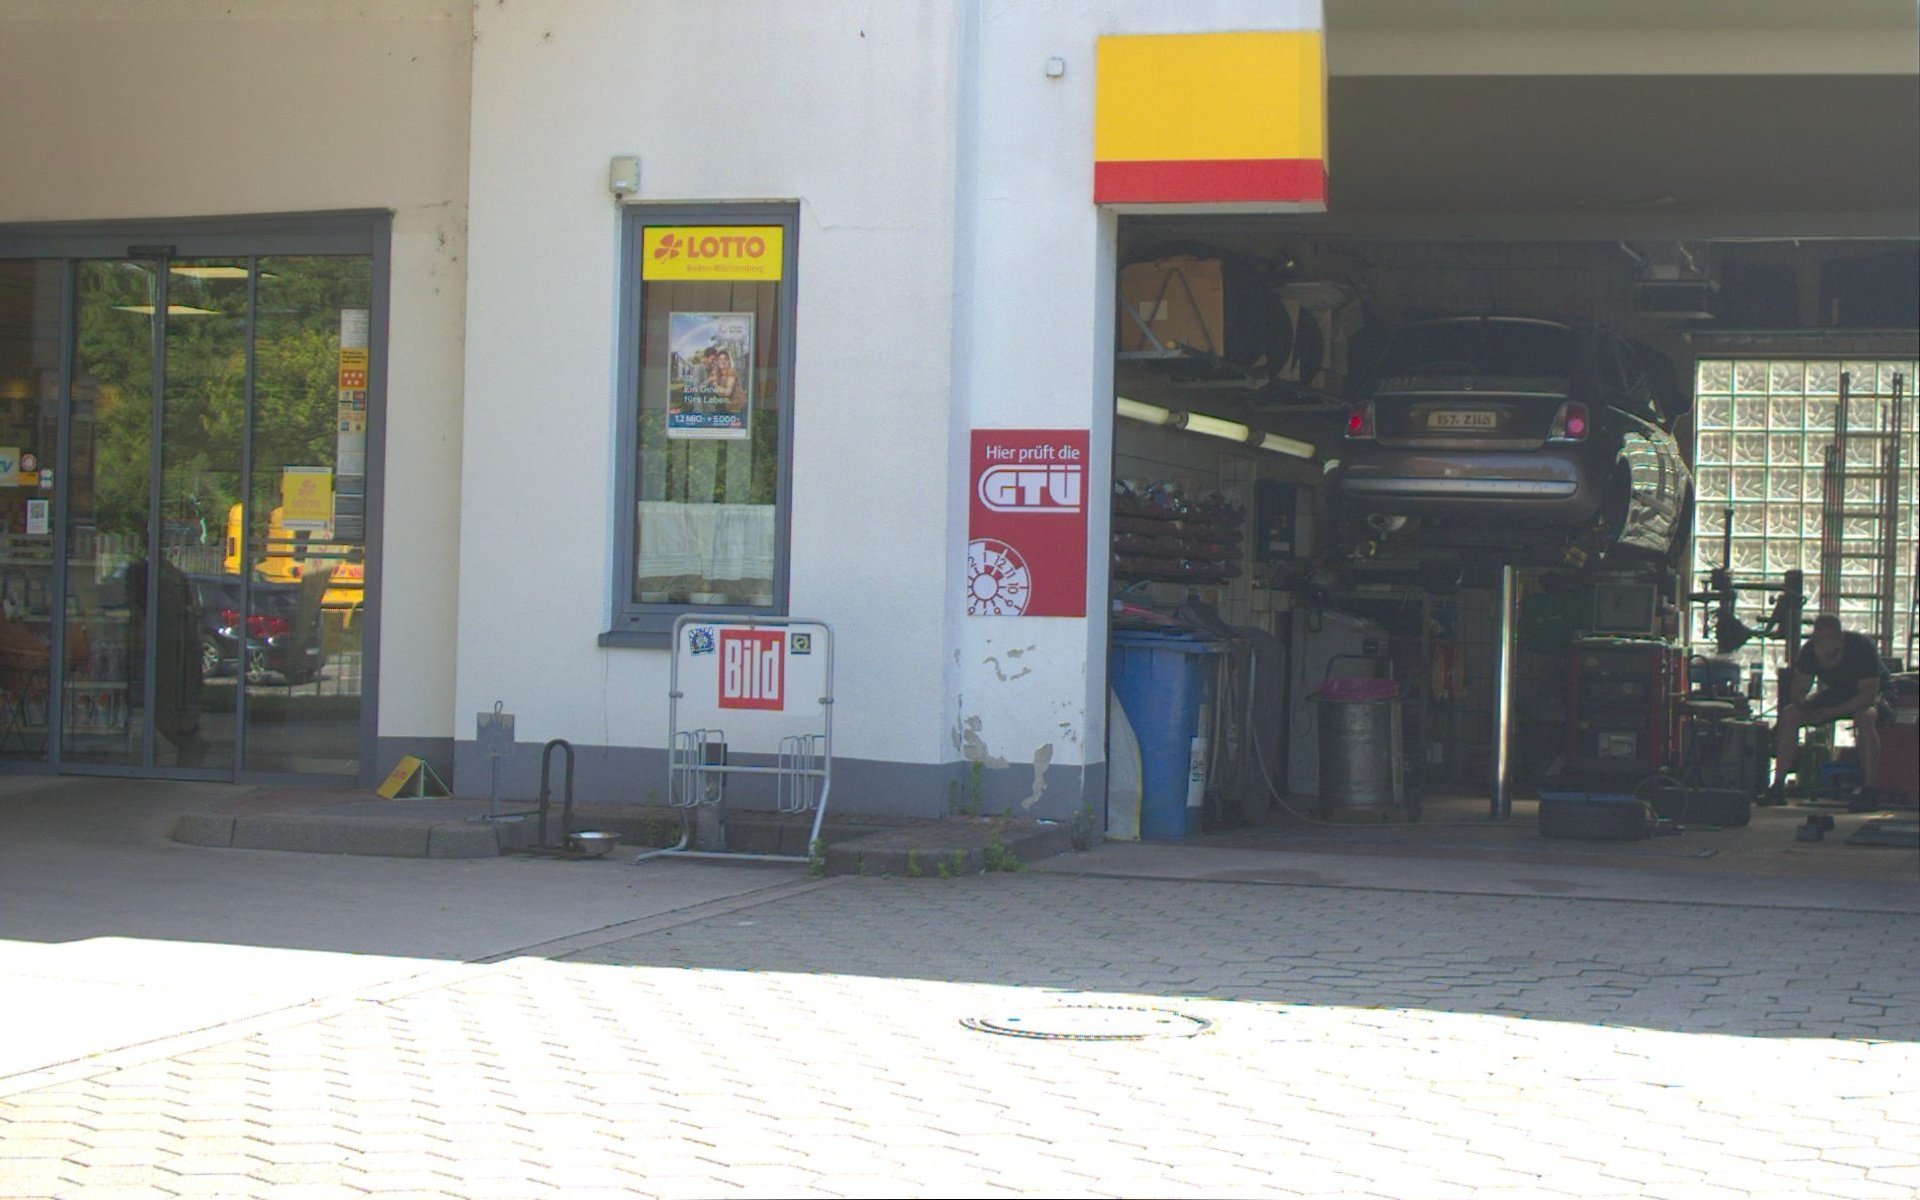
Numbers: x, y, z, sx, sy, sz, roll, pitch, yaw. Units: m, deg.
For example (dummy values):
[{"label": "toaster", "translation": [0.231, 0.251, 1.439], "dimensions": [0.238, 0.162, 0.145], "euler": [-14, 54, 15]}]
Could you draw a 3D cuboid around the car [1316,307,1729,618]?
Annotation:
[{"label": "car", "translation": [3.397, -0.723, 20.167], "dimensions": [1.648, 1.481, 3.995], "euler": [1, -2, 20]}]

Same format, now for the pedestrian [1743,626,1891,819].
[{"label": "pedestrian", "translation": [5.499, 0.784, 22.040], "dimensions": [0.864, 1.194, 0.742], "euler": [1, -2, 17]}]
